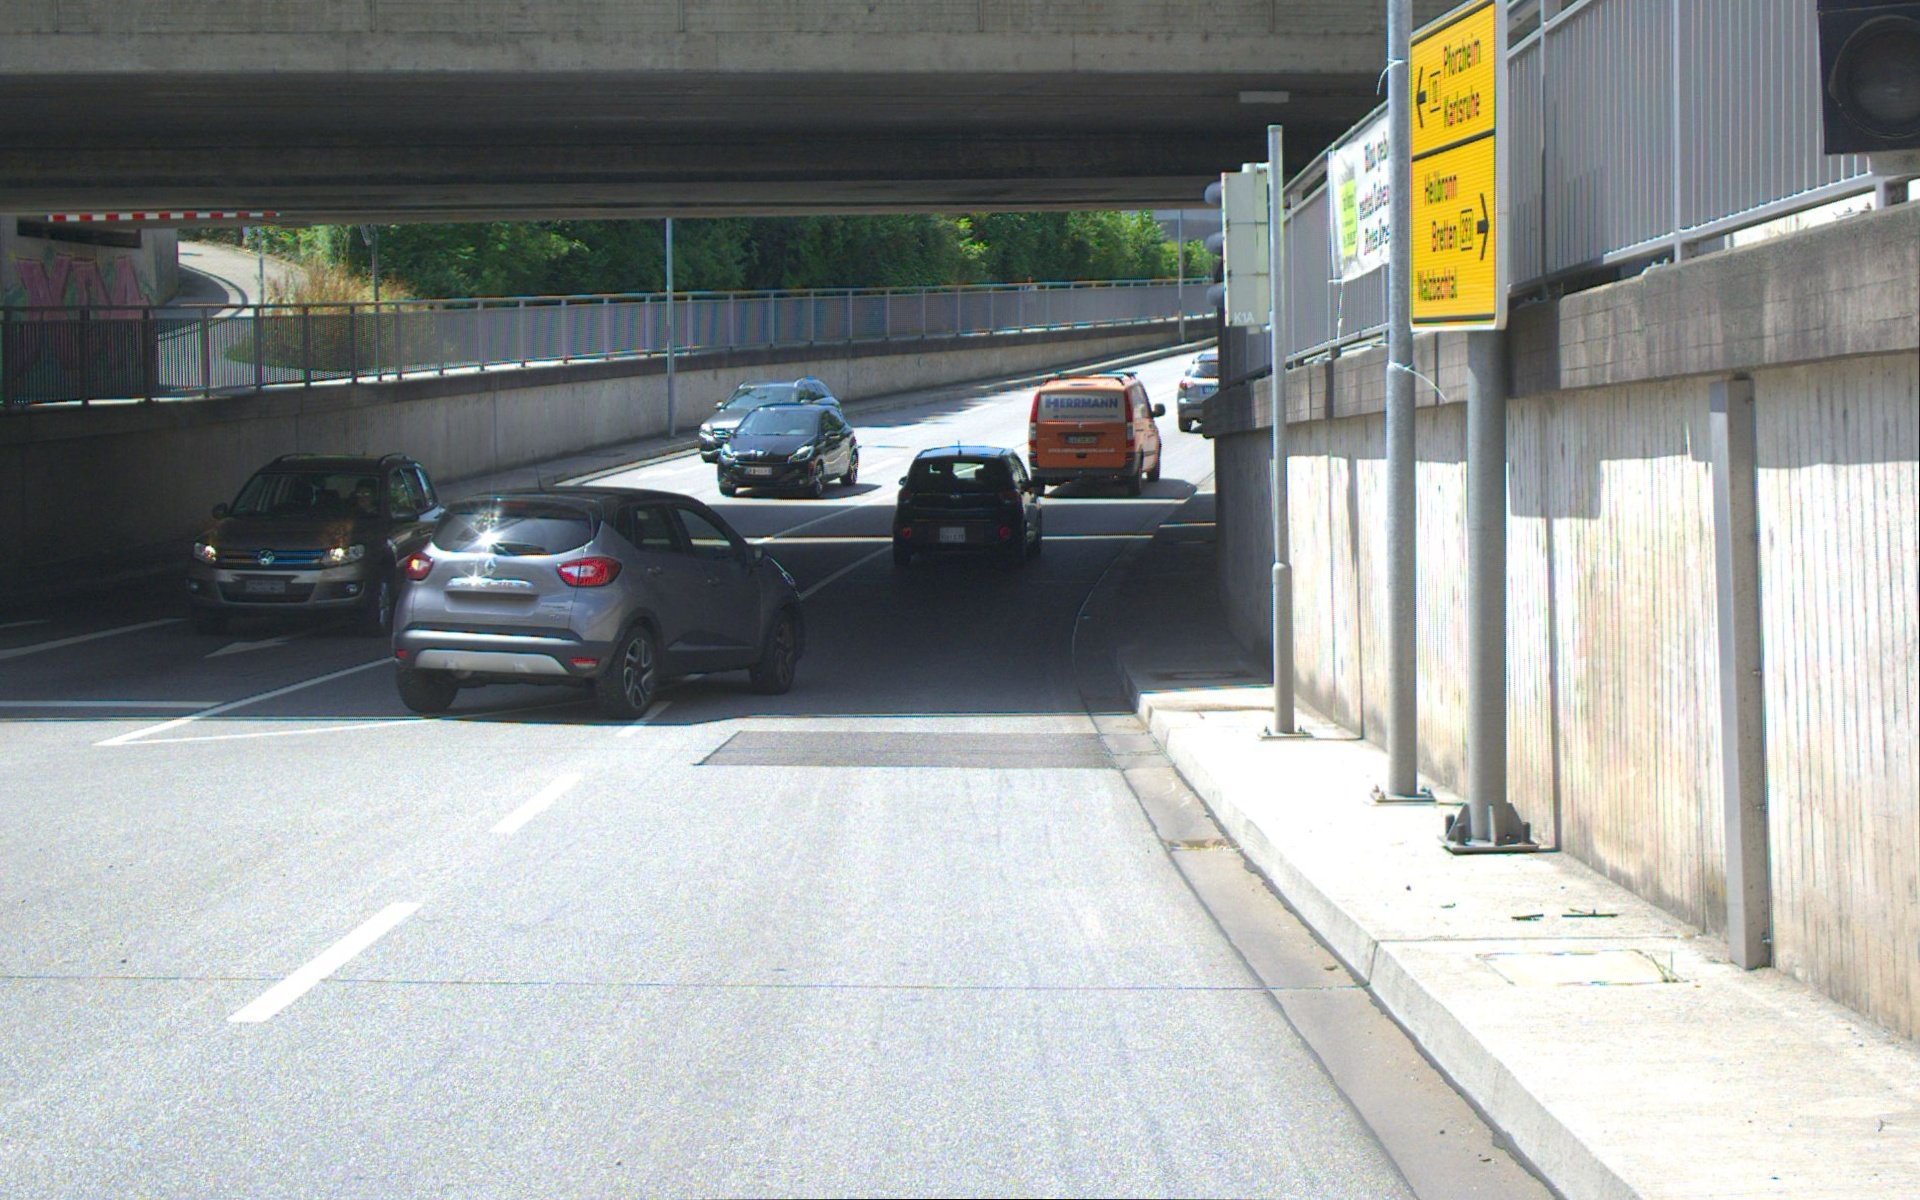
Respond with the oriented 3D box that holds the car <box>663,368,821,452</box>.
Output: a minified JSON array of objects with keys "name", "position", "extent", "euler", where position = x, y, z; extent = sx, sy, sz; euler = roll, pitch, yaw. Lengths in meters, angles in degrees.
[{"name":"car","position":[-4.224,-3.720,67.219],"extent":[1.995,1.583,3.998],"euler":[1,3,13]}]

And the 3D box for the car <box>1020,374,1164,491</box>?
[{"name":"car","position":[2.317,-2.901,59.123],"extent":[1.873,1.925,4.718],"euler":[1,3,10]}]

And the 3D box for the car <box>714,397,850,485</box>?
[{"name":"car","position":[-2.995,-2.734,58.557],"extent":[1.782,1.431,4.000],"euler":[0,3,5]}]

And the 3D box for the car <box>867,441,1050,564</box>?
[{"name":"car","position":[0.036,-1.298,44.470],"extent":[1.994,1.502,4.000],"euler":[0,3,5]}]

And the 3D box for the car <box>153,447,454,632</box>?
[{"name":"car","position":[-6.253,-0.636,33.185],"extent":[1.993,1.621,4.001],"euler":[0,3,2]}]

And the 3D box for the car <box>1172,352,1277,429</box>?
[{"name":"car","position":[5.687,-4.482,73.622],"extent":[1.805,1.612,3.999],"euler":[1,3,11]}]

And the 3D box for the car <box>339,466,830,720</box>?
[{"name":"car","position":[-2.603,-0.129,24.871],"extent":[1.995,1.583,3.997],"euler":[1,4,19]}]
